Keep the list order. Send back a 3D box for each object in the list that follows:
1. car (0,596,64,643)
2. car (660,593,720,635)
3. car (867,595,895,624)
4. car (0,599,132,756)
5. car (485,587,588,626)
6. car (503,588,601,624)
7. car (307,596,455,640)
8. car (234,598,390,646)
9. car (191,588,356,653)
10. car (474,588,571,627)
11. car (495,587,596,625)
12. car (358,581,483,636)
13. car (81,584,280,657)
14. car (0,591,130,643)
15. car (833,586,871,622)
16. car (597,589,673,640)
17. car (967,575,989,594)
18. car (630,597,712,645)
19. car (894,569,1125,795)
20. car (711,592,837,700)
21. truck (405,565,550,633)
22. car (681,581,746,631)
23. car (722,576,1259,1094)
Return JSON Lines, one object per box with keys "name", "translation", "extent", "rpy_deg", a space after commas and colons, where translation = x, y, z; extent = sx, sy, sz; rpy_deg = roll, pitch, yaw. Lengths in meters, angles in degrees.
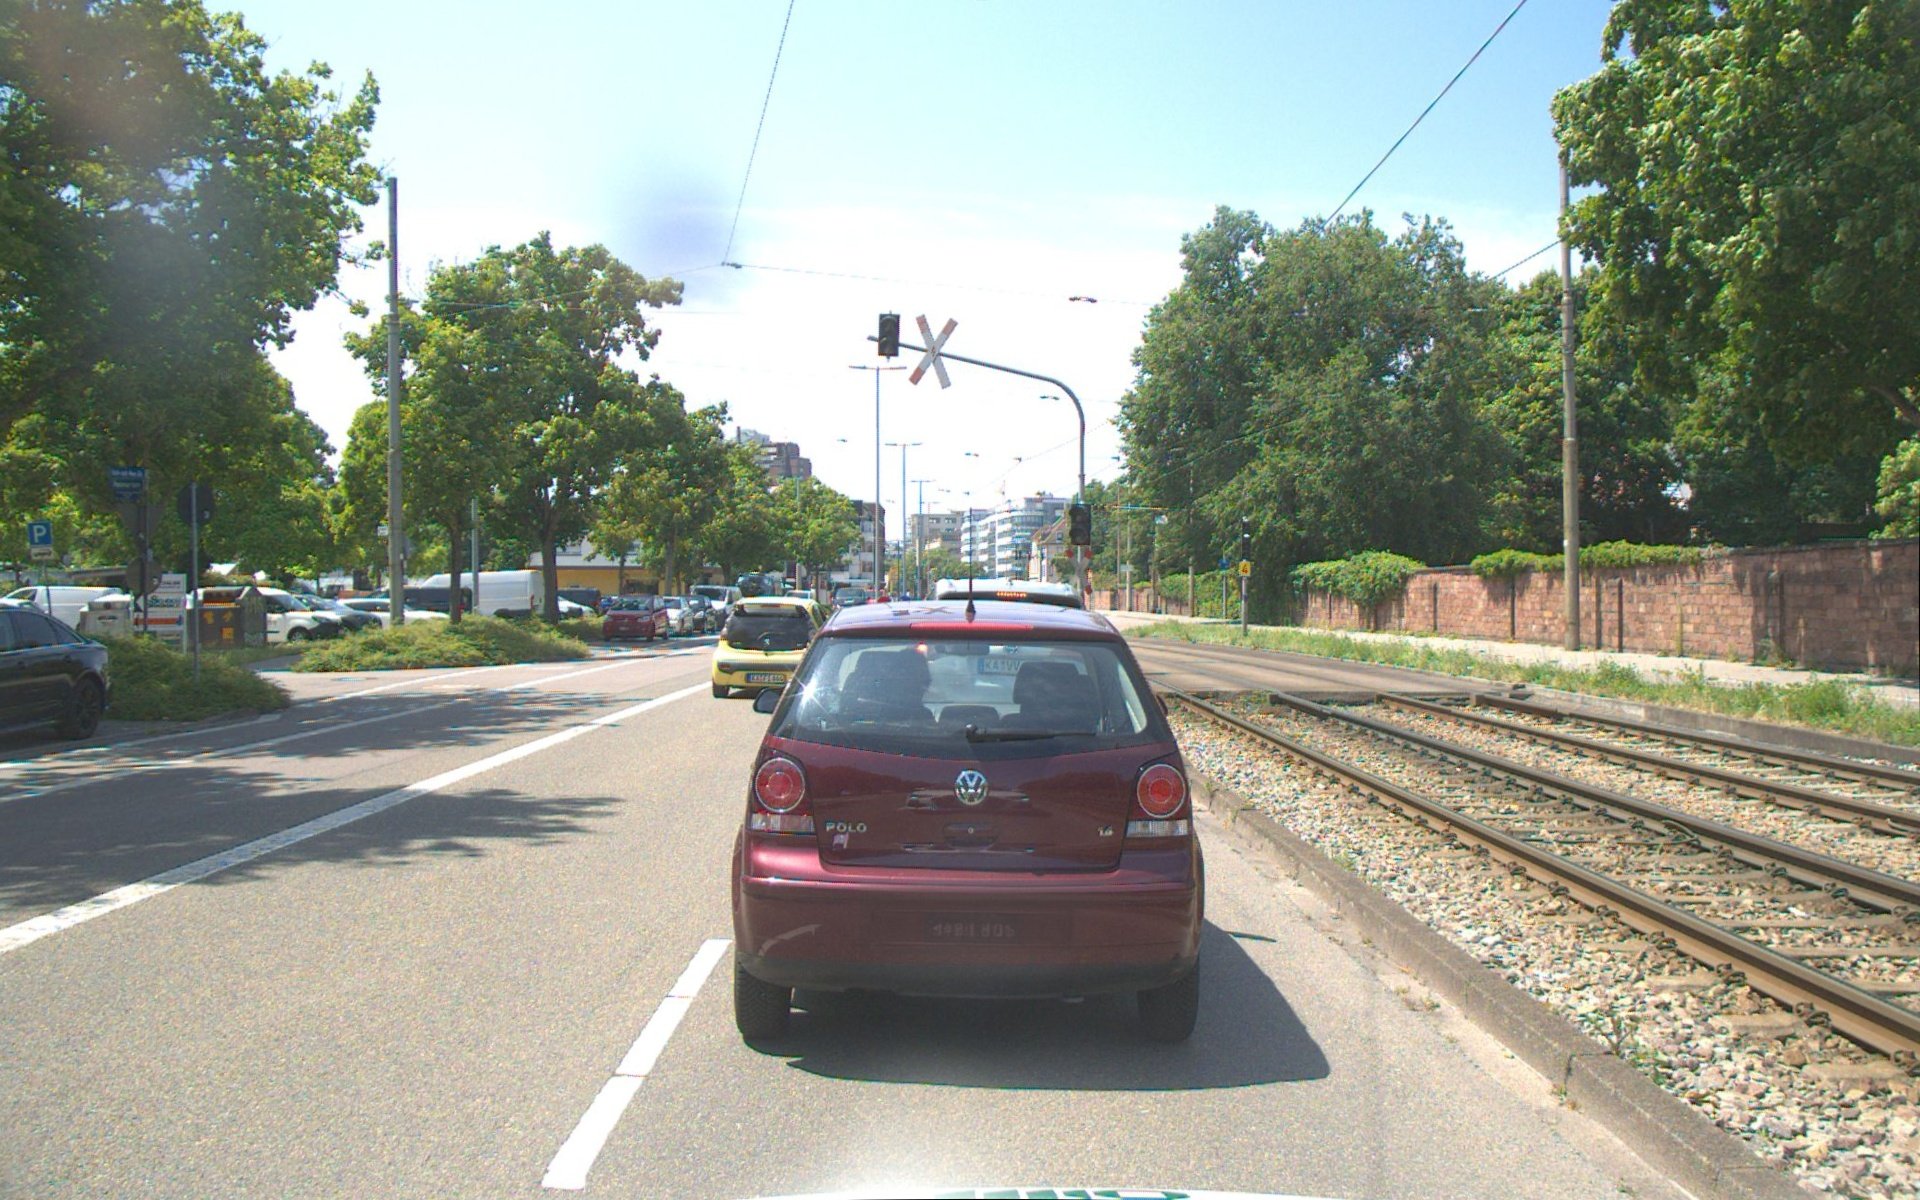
{"name": "car", "translation": [-33.708, 0.660, 57.938], "extent": [3.670, 1.603, 1.732], "rpy_deg": [0, 0, -1]}
{"name": "car", "translation": [-10.685, 0.539, 65.757], "extent": [1.581, 1.510, 3.785], "rpy_deg": [3, 0, 2]}
{"name": "car", "translation": [-5.605, 0.675, 117.406], "extent": [1.861, 1.959, 4.818], "rpy_deg": [-1, 0, -2]}
{"name": "car", "translation": [-10.230, 0.752, 16.339], "extent": [1.856, 1.482, 4.807], "rpy_deg": [1, 0, -3]}
{"name": "car", "translation": [-20.833, 0.309, 81.535], "extent": [4.623, 1.845, 1.796], "rpy_deg": [-1, 0, -2]}
{"name": "car", "translation": [-21.167, 0.300, 85.939], "extent": [4.623, 1.845, 1.796], "rpy_deg": [-1, 0, -2]}
{"name": "car", "translation": [-20.993, 0.641, 60.115], "extent": [4.665, 1.514, 2.057], "rpy_deg": [-1, 0, -2]}
{"name": "car", "translation": [-20.403, 0.677, 52.206], "extent": [4.113, 1.428, 2.079], "rpy_deg": [-1, 0, -5]}
{"name": "car", "translation": [-20.388, 0.589, 49.189], "extent": [4.178, 1.867, 1.673], "rpy_deg": [-1, 0, 1]}
{"name": "car", "translation": [-20.880, 0.366, 79.033], "extent": [4.125, 1.796, 1.856], "rpy_deg": [-1, 0, -2]}
{"name": "car", "translation": [-20.943, 0.275, 83.658], "extent": [4.623, 1.845, 1.796], "rpy_deg": [-1, 0, -2]}
{"name": "car", "translation": [-20.488, 0.321, 62.903], "extent": [4.125, 2.030, 1.856], "rpy_deg": [-1, 0, -2]}
{"name": "car", "translation": [-20.872, 0.528, 44.427], "extent": [4.361, 1.889, 2.059], "rpy_deg": [-1, 0, -5]}
{"name": "car", "translation": [-32.850, 0.611, 60.400], "extent": [4.044, 1.852, 1.970], "rpy_deg": [0, 0, -1]}
{"name": "car", "translation": [-6.055, 0.198, 93.530], "extent": [1.879, 1.944, 4.570], "rpy_deg": [-1, 0, -1]}
{"name": "car", "translation": [-10.581, 0.475, 54.057], "extent": [1.637, 1.573, 3.727], "rpy_deg": [1, 0, 2]}
{"name": "car", "translation": [1.884, -1.579, 172.726], "extent": [1.881, 1.944, 4.566], "rpy_deg": [-1, 0, -5]}
{"name": "car", "translation": [-10.583, 0.733, 60.824], "extent": [1.683, 1.451, 4.774], "rpy_deg": [-6, 0, 5]}
{"name": "car", "translation": [0.353, 0.619, 14.738], "extent": [1.759, 1.712, 3.999], "rpy_deg": [1, 0, -1]}
{"name": "car", "translation": [-2.706, 0.628, 24.667], "extent": [1.520, 1.473, 3.411], "rpy_deg": [1, 0, -1]}
{"name": "truck", "translation": [-20.595, -0.065, 70.826], "extent": [5.463, 2.808, 2.432], "rpy_deg": [-1, 0, 0]}
{"name": "car", "translation": [-10.534, 0.263, 71.020], "extent": [1.824, 1.971, 4.806], "rpy_deg": [3, 0, 2]}
{"name": "car", "translation": [0.064, 0.692, 6.927], "extent": [1.577, 1.524, 3.999], "rpy_deg": [1, 0, -1]}
